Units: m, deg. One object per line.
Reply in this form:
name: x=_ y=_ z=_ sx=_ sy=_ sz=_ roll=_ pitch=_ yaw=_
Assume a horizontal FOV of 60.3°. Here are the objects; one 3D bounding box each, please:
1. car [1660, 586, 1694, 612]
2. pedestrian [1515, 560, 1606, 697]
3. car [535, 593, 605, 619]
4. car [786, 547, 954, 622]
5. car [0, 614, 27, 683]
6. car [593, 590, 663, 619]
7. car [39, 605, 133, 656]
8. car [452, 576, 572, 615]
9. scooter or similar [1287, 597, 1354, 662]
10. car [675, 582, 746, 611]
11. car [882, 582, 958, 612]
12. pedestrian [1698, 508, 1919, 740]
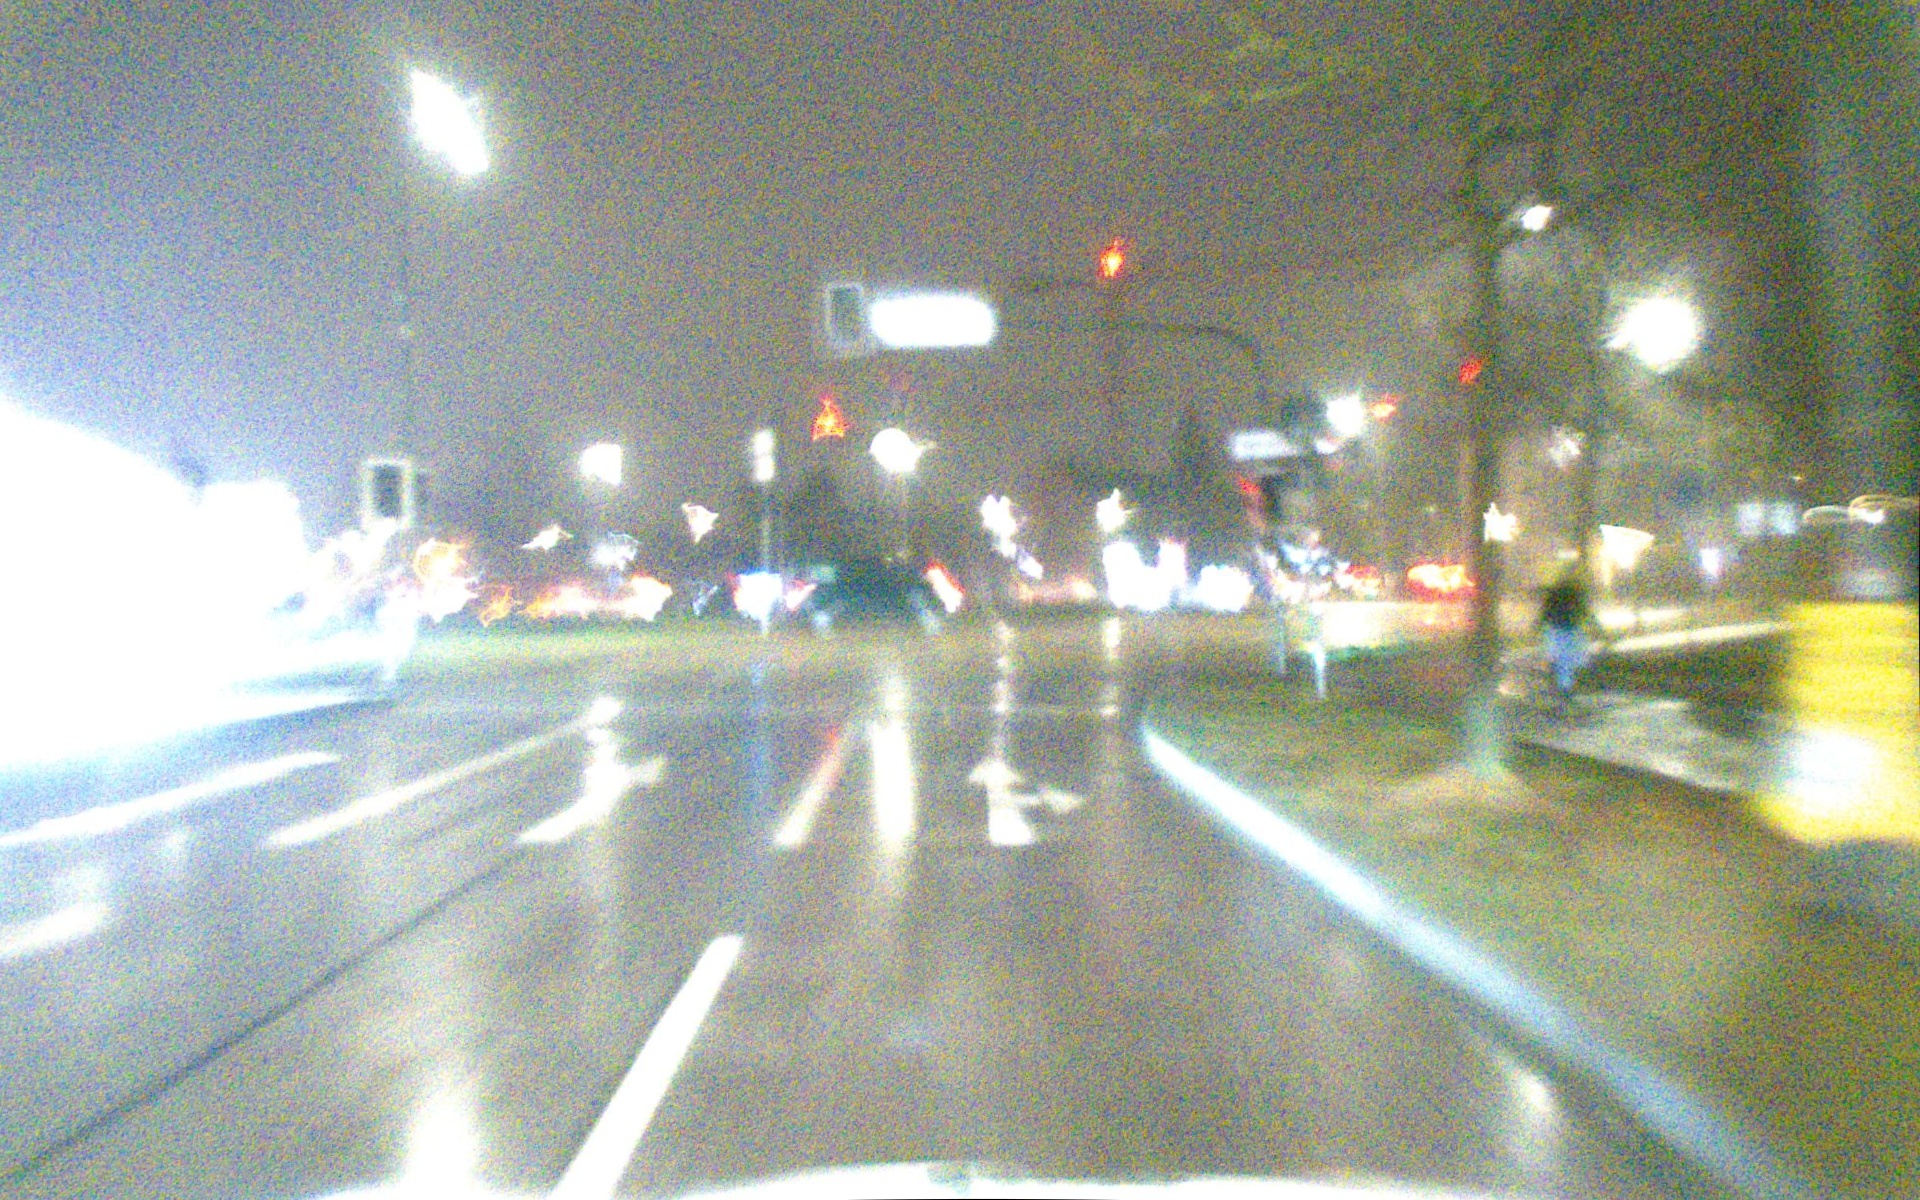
car: x=43.385 y=-0.093 z=100.101 sx=1.683 sy=1.523 sz=3.907 roll=0 pitch=0 yaw=27
pedestrian: x=6.754 y=0.308 z=18.632 sx=0.711 sy=1.511 sz=0.836 roll=0 pitch=0 yaw=-1
car: x=-23.190 y=0.349 z=98.376 sx=3.913 sy=1.512 sz=1.765 roll=0 pitch=0 yaw=-9
car: x=-2.560 y=-0.430 z=46.611 sx=4.463 sy=2.049 sz=1.994 roll=0 pitch=0 yaw=-13
car: x=-26.729 y=1.279 z=44.903 sx=2.037 sy=1.746 sz=5.001 roll=0 pitch=0 yaw=-25
car: x=-19.104 y=0.274 z=95.225 sx=3.919 sy=1.644 sz=1.830 roll=0 pitch=0 yaw=-14
car: x=-32.480 y=1.079 z=61.623 sx=2.022 sy=1.762 sz=5.110 roll=0 pitch=0 yaw=-15
car: x=-25.163 y=-0.268 z=92.955 sx=6.215 sy=2.125 sz=2.495 roll=0 pitch=0 yaw=-26
scooter or similar: x=6.315 y=0.516 z=28.996 sx=1.079 sy=1.117 sz=0.317 roll=-2 pitch=-1 yaw=27
car: x=-14.357 y=-0.209 z=95.303 sx=3.873 sy=1.606 sz=1.736 roll=0 pitch=0 yaw=-3
car: x=-2.272 y=-0.188 z=93.469 sx=3.908 sy=1.644 sz=1.835 roll=0 pitch=0 yaw=25
pedestrian: x=7.069 y=0.183 z=13.730 sx=1.202 sy=1.825 sz=1.490 roll=0 pitch=0 yaw=-1
